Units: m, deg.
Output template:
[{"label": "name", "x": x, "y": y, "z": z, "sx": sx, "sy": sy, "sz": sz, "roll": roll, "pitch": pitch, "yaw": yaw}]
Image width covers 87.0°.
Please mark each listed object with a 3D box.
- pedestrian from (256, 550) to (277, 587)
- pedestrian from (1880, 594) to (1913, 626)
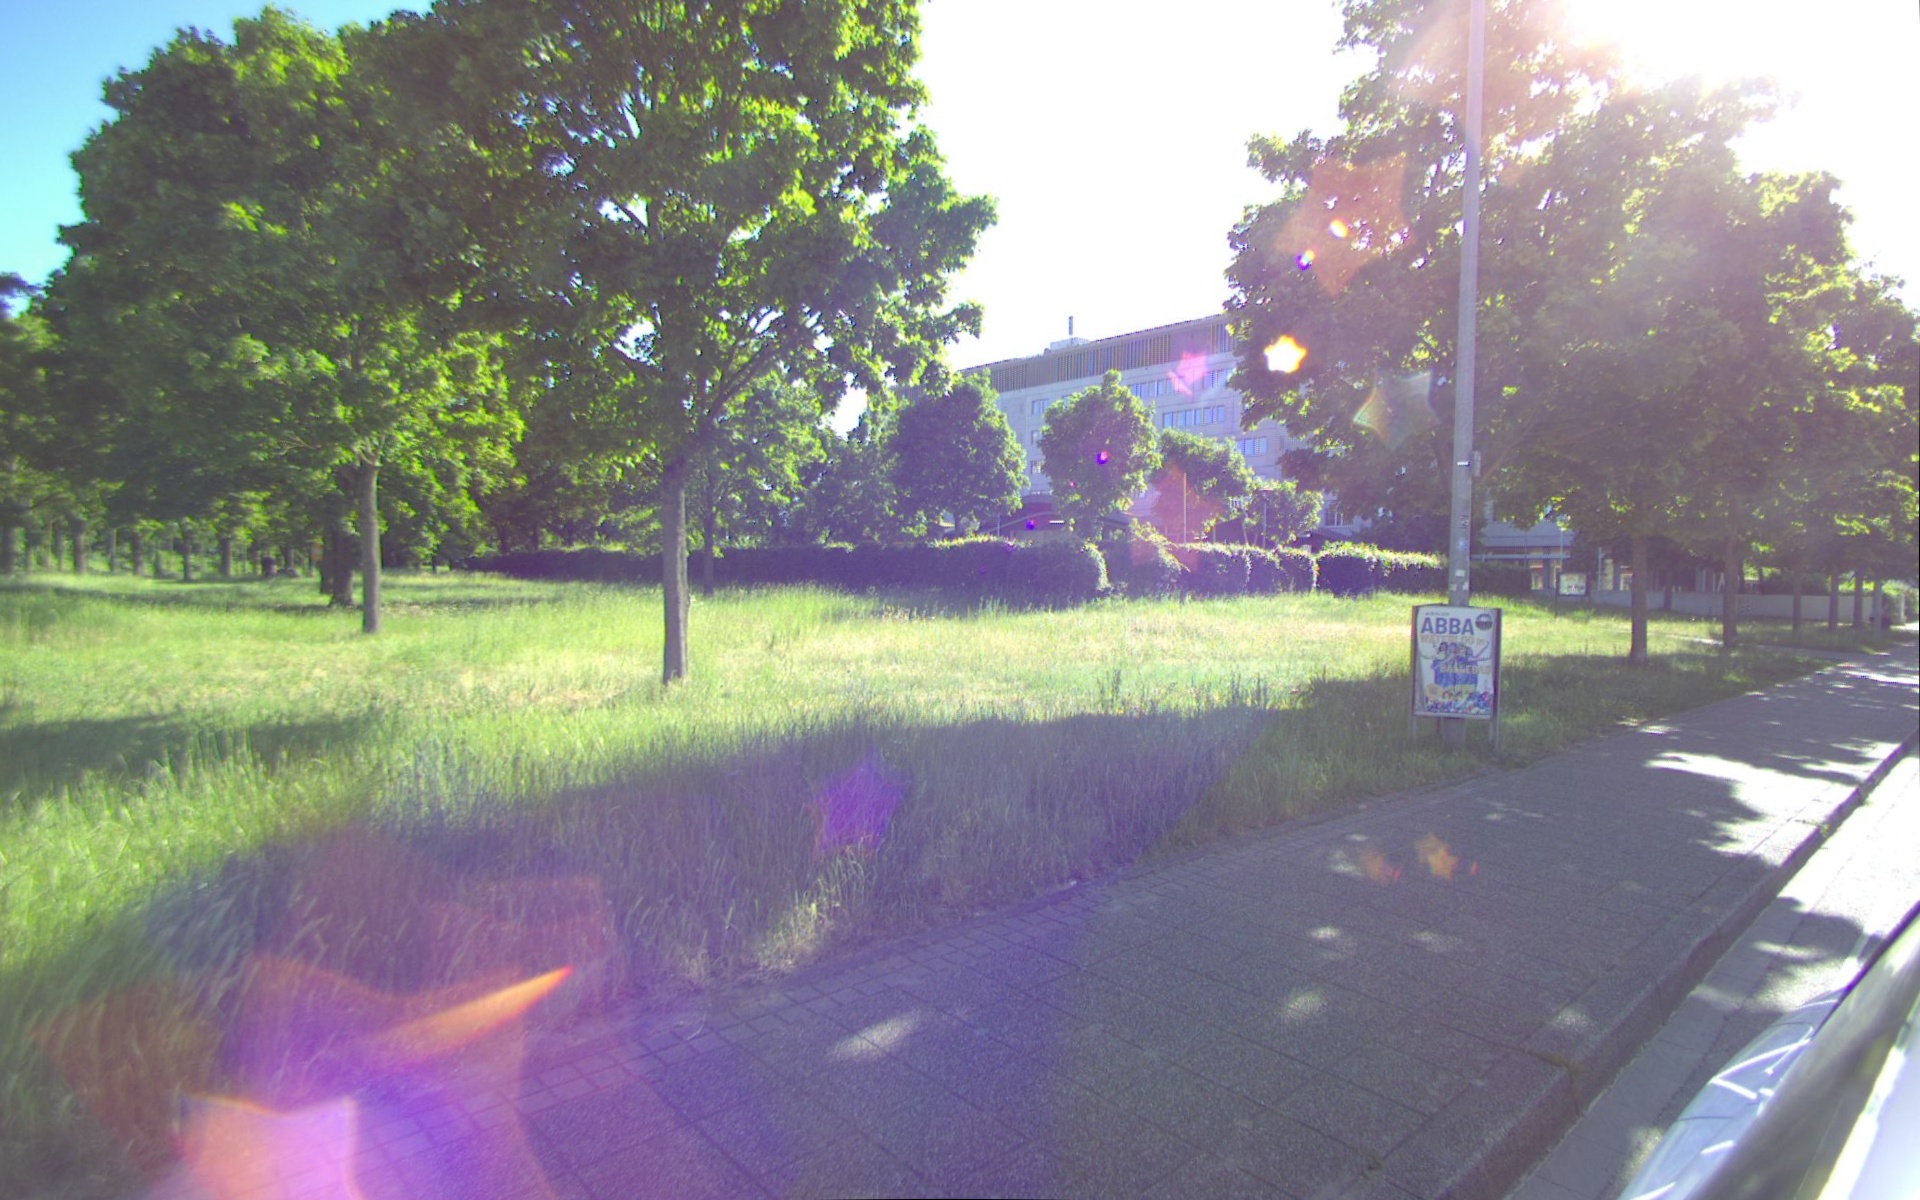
[{"label": "pedestrian", "x": -33.236, "y": -1.508, "z": 48.511, "sx": 0.726, "sy": 1.748, "sz": 0.888, "roll": 1, "pitch": 1, "yaw": -38}, {"label": "pedestrian", "x": 38.878, "y": 0.407, "z": 42.021, "sx": 0.842, "sy": 1.232, "sz": 0.719, "roll": 3, "pitch": 2, "yaw": 36}]
